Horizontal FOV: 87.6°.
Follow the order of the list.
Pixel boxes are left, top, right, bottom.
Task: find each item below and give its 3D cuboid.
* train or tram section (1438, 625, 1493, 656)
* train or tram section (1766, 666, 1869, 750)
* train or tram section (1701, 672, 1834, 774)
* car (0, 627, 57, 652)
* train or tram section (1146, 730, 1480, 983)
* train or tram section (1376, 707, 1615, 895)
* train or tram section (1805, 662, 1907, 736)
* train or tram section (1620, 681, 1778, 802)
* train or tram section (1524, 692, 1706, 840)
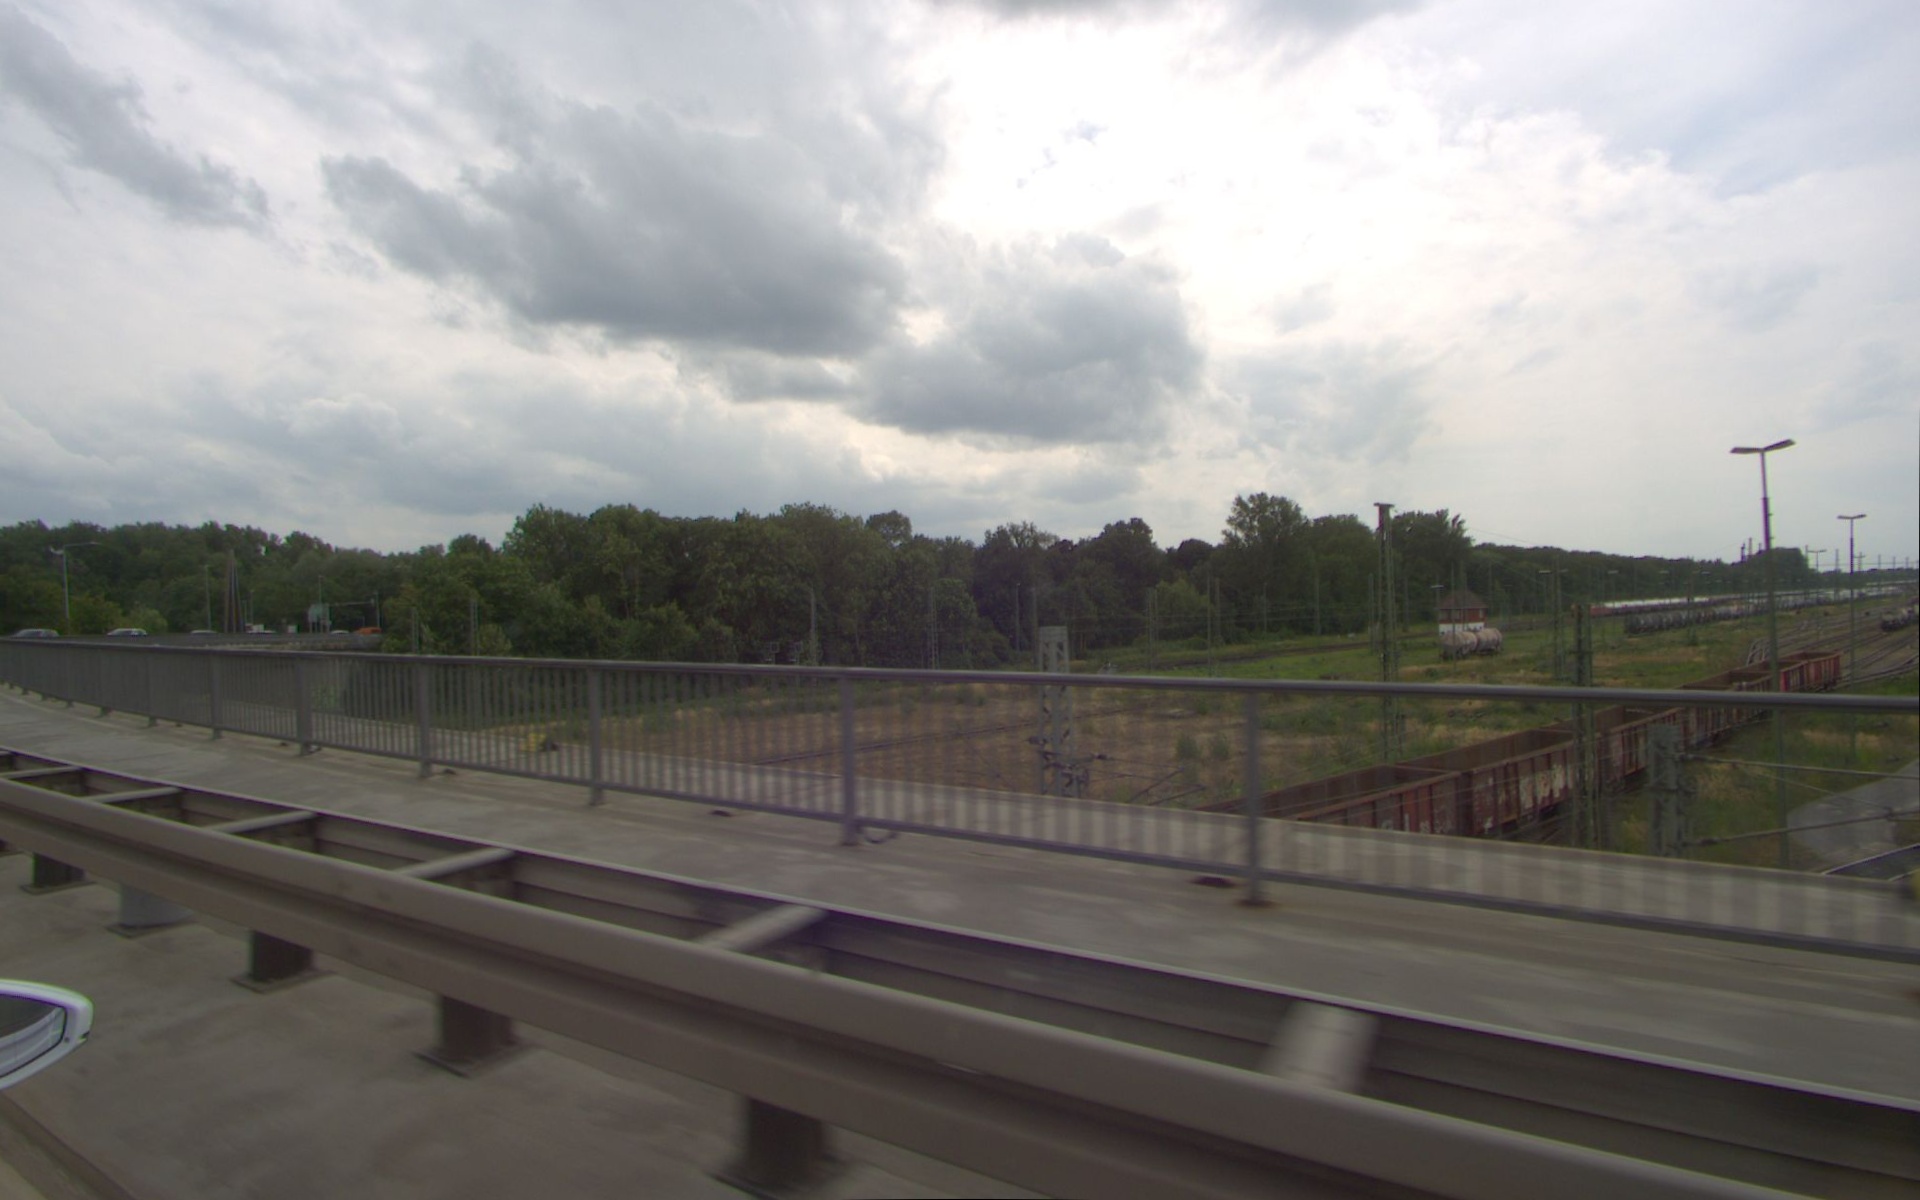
[{"bbox_3d":[70.955,5.573,140.356,11.274,4.221,3.223,1,-2,-43],"label":"train or tram section"},{"bbox_3d":[69.436,8.452,80.873,15.391,5.696,3.773,1,-2,-40],"label":"train or tram section"},{"bbox_3d":[56.759,8.241,70.000,18.077,5.714,3.927,1,-2,-41],"label":"train or tram section"},{"bbox_3d":[-64.505,2.725,69.382,1.797,1.641,4.379,0,-2,-28],"label":"car"},{"bbox_3d":[11.974,7.667,32.709,13.493,5.645,3.625,1,-2,-38],"label":"train or tram section"},{"bbox_3d":[22.460,7.723,41.304,14.100,5.670,3.629,1,-2,-40],"label":"train or tram section"},{"bbox_3d":[84.703,8.973,94.289,25.418,5.550,3.959,1,-2,-41],"label":"train or tram section"},{"bbox_3d":[44.080,8.014,59.385,14.846,5.749,3.946,1,-2,-39],"label":"train or tram section"},{"bbox_3d":[33.088,7.875,50.153,13.756,5.750,3.812,1,-2,-40],"label":"train or tram section"}]
